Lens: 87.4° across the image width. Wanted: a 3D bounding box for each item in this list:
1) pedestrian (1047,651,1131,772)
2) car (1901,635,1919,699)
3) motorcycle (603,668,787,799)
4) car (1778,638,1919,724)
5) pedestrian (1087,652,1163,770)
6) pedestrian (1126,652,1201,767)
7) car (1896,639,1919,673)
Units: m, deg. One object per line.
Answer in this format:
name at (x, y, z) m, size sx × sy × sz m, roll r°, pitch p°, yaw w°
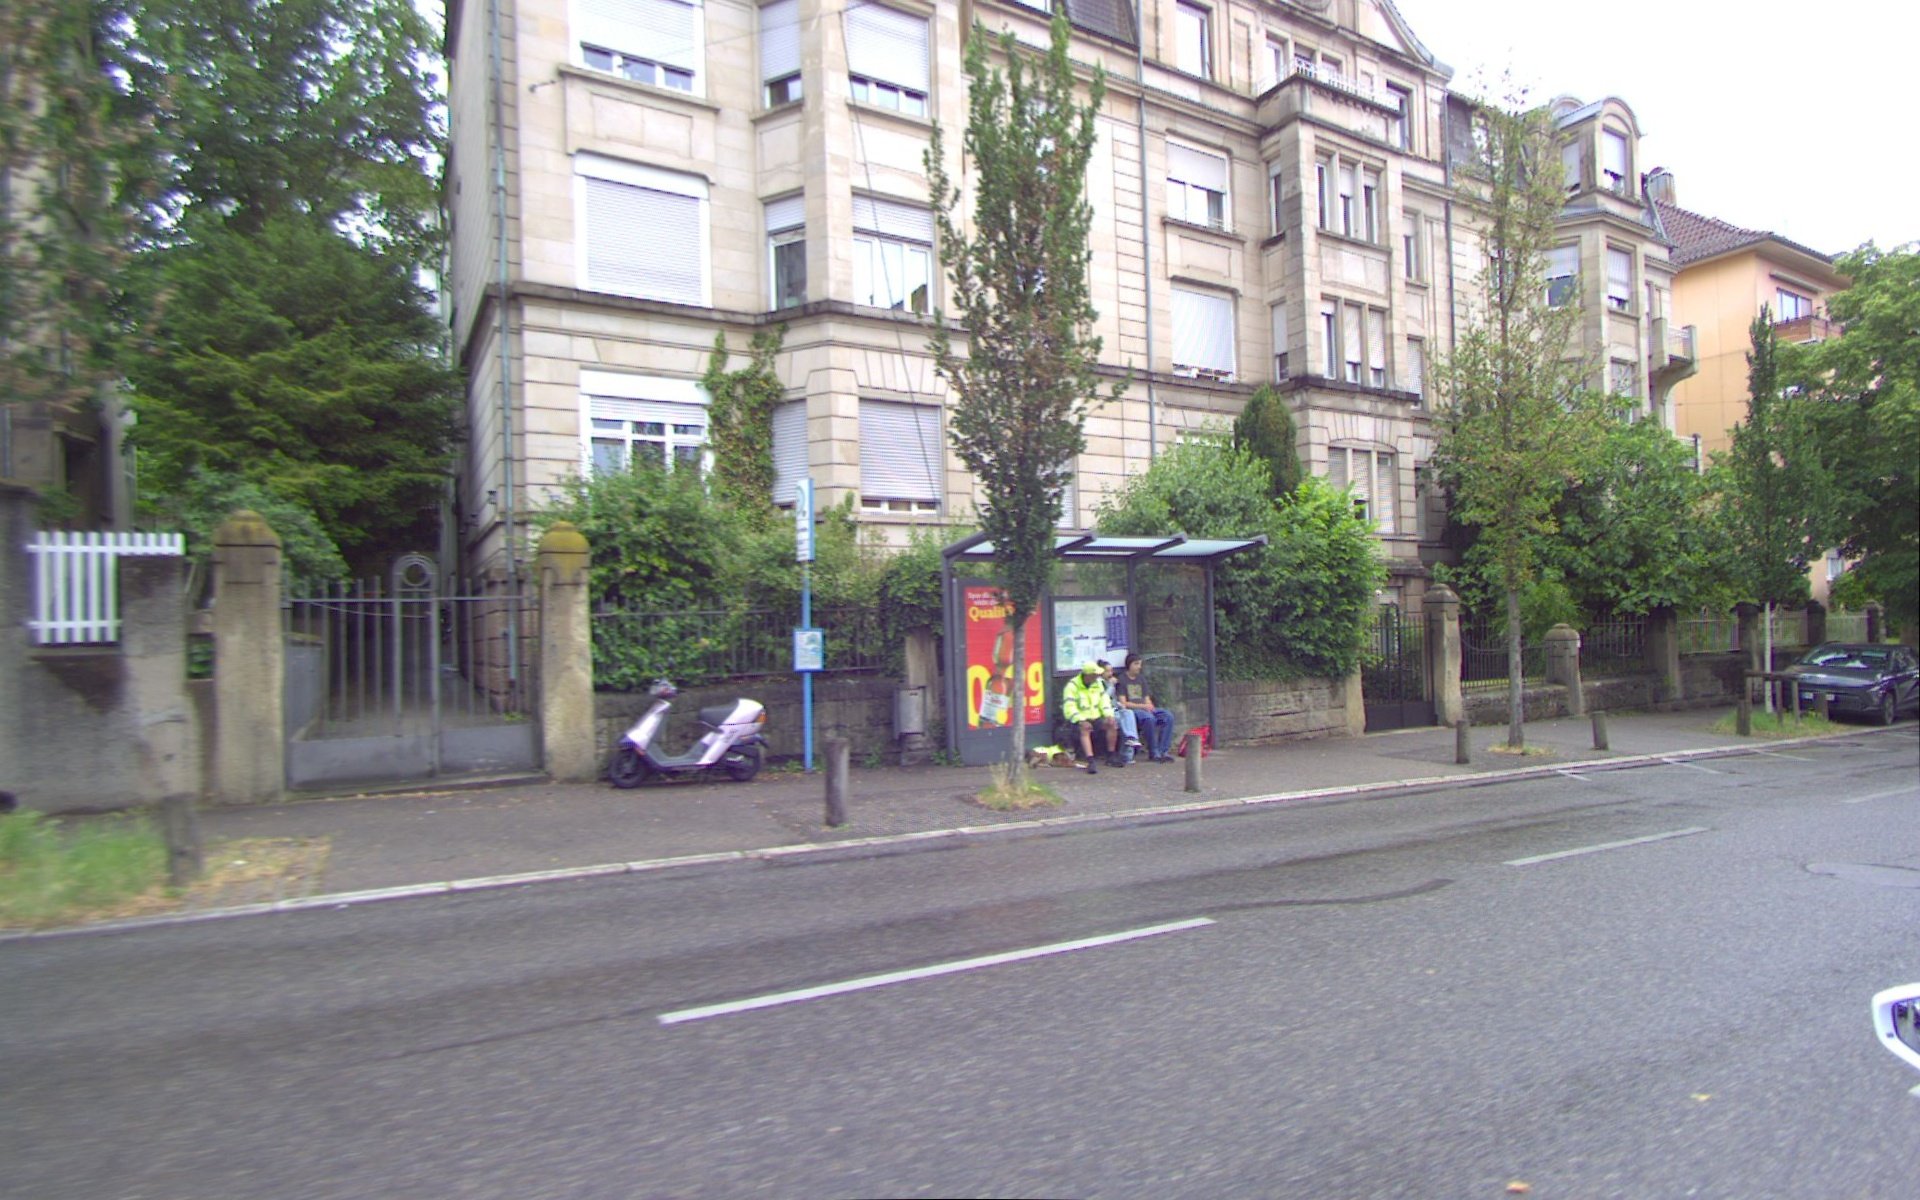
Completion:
pedestrian at (1.618, 1.377, 12.646) m, size 0.751 × 1.451 × 0.763 m, roll 2°, pitch -3°, yaw -30°
car at (25.937, 1.740, 25.601) m, size 4.252 × 1.580 × 1.733 m, roll 2°, pitch -1°, yaw -31°
motorcycle at (-2.740, 1.338, 10.428) m, size 1.740 × 1.253 × 0.653 m, roll 2°, pitch -3°, yaw -28°
car at (19.284, 1.670, 21.371) m, size 4.258 × 1.580 × 1.730 m, roll 2°, pitch 0°, yaw -34°
pedestrian at (2.121, 1.403, 12.961) m, size 0.641 × 1.451 × 0.763 m, roll 2°, pitch -3°, yaw -28°
pedestrian at (2.667, 1.409, 13.202) m, size 0.641 × 1.451 × 0.763 m, roll 2°, pitch -3°, yaw -28°
car at (39.077, 2.159, 38.774) m, size 1.816 × 1.344 × 3.967 m, roll 1°, pitch -2°, yaw -32°
